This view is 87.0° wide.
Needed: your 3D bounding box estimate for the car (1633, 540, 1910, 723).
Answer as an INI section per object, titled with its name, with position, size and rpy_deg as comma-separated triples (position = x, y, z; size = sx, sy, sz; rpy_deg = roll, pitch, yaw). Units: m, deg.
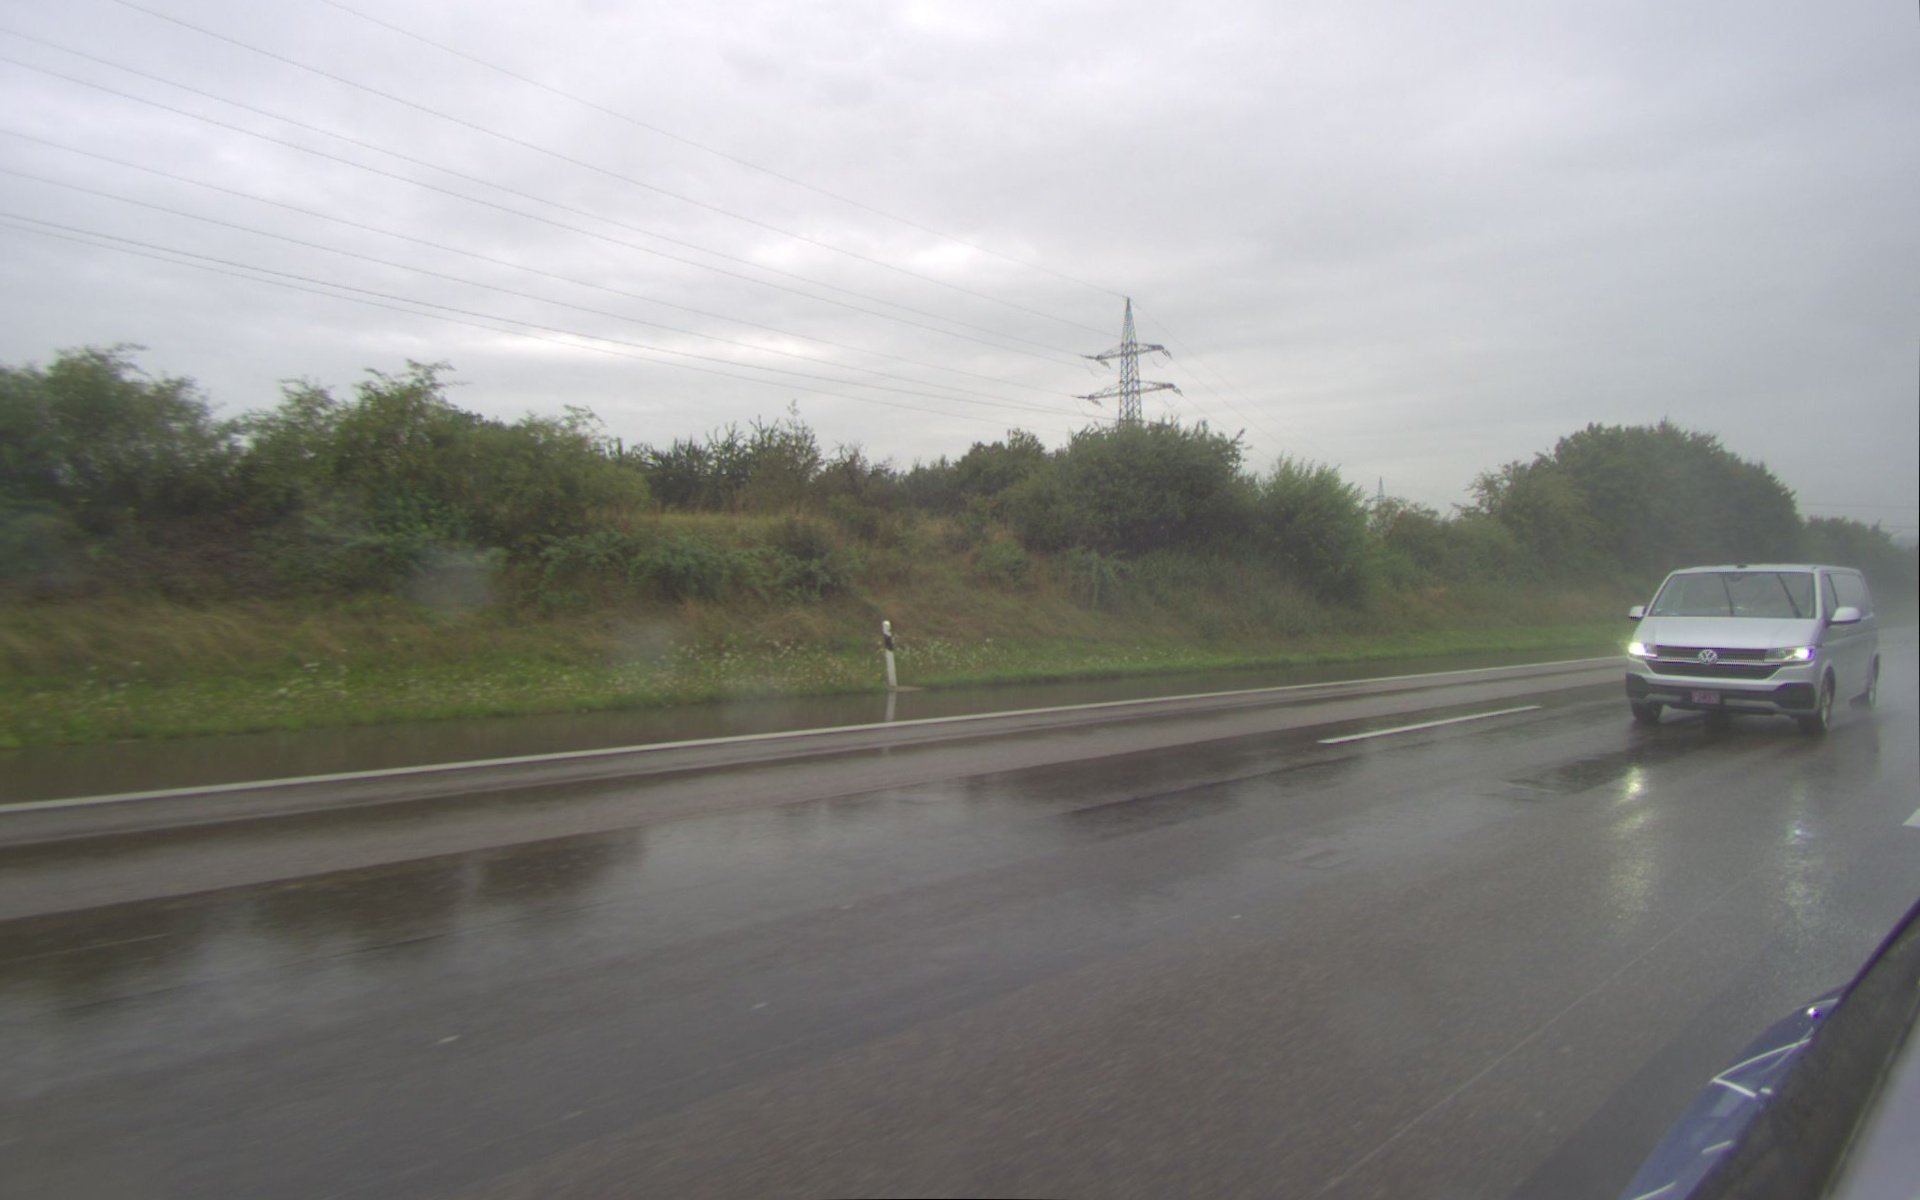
[car]
position = 10.459, 0.342, 12.894
size = 4.921, 1.908, 1.890
rpy_deg = 0, -1, -41
